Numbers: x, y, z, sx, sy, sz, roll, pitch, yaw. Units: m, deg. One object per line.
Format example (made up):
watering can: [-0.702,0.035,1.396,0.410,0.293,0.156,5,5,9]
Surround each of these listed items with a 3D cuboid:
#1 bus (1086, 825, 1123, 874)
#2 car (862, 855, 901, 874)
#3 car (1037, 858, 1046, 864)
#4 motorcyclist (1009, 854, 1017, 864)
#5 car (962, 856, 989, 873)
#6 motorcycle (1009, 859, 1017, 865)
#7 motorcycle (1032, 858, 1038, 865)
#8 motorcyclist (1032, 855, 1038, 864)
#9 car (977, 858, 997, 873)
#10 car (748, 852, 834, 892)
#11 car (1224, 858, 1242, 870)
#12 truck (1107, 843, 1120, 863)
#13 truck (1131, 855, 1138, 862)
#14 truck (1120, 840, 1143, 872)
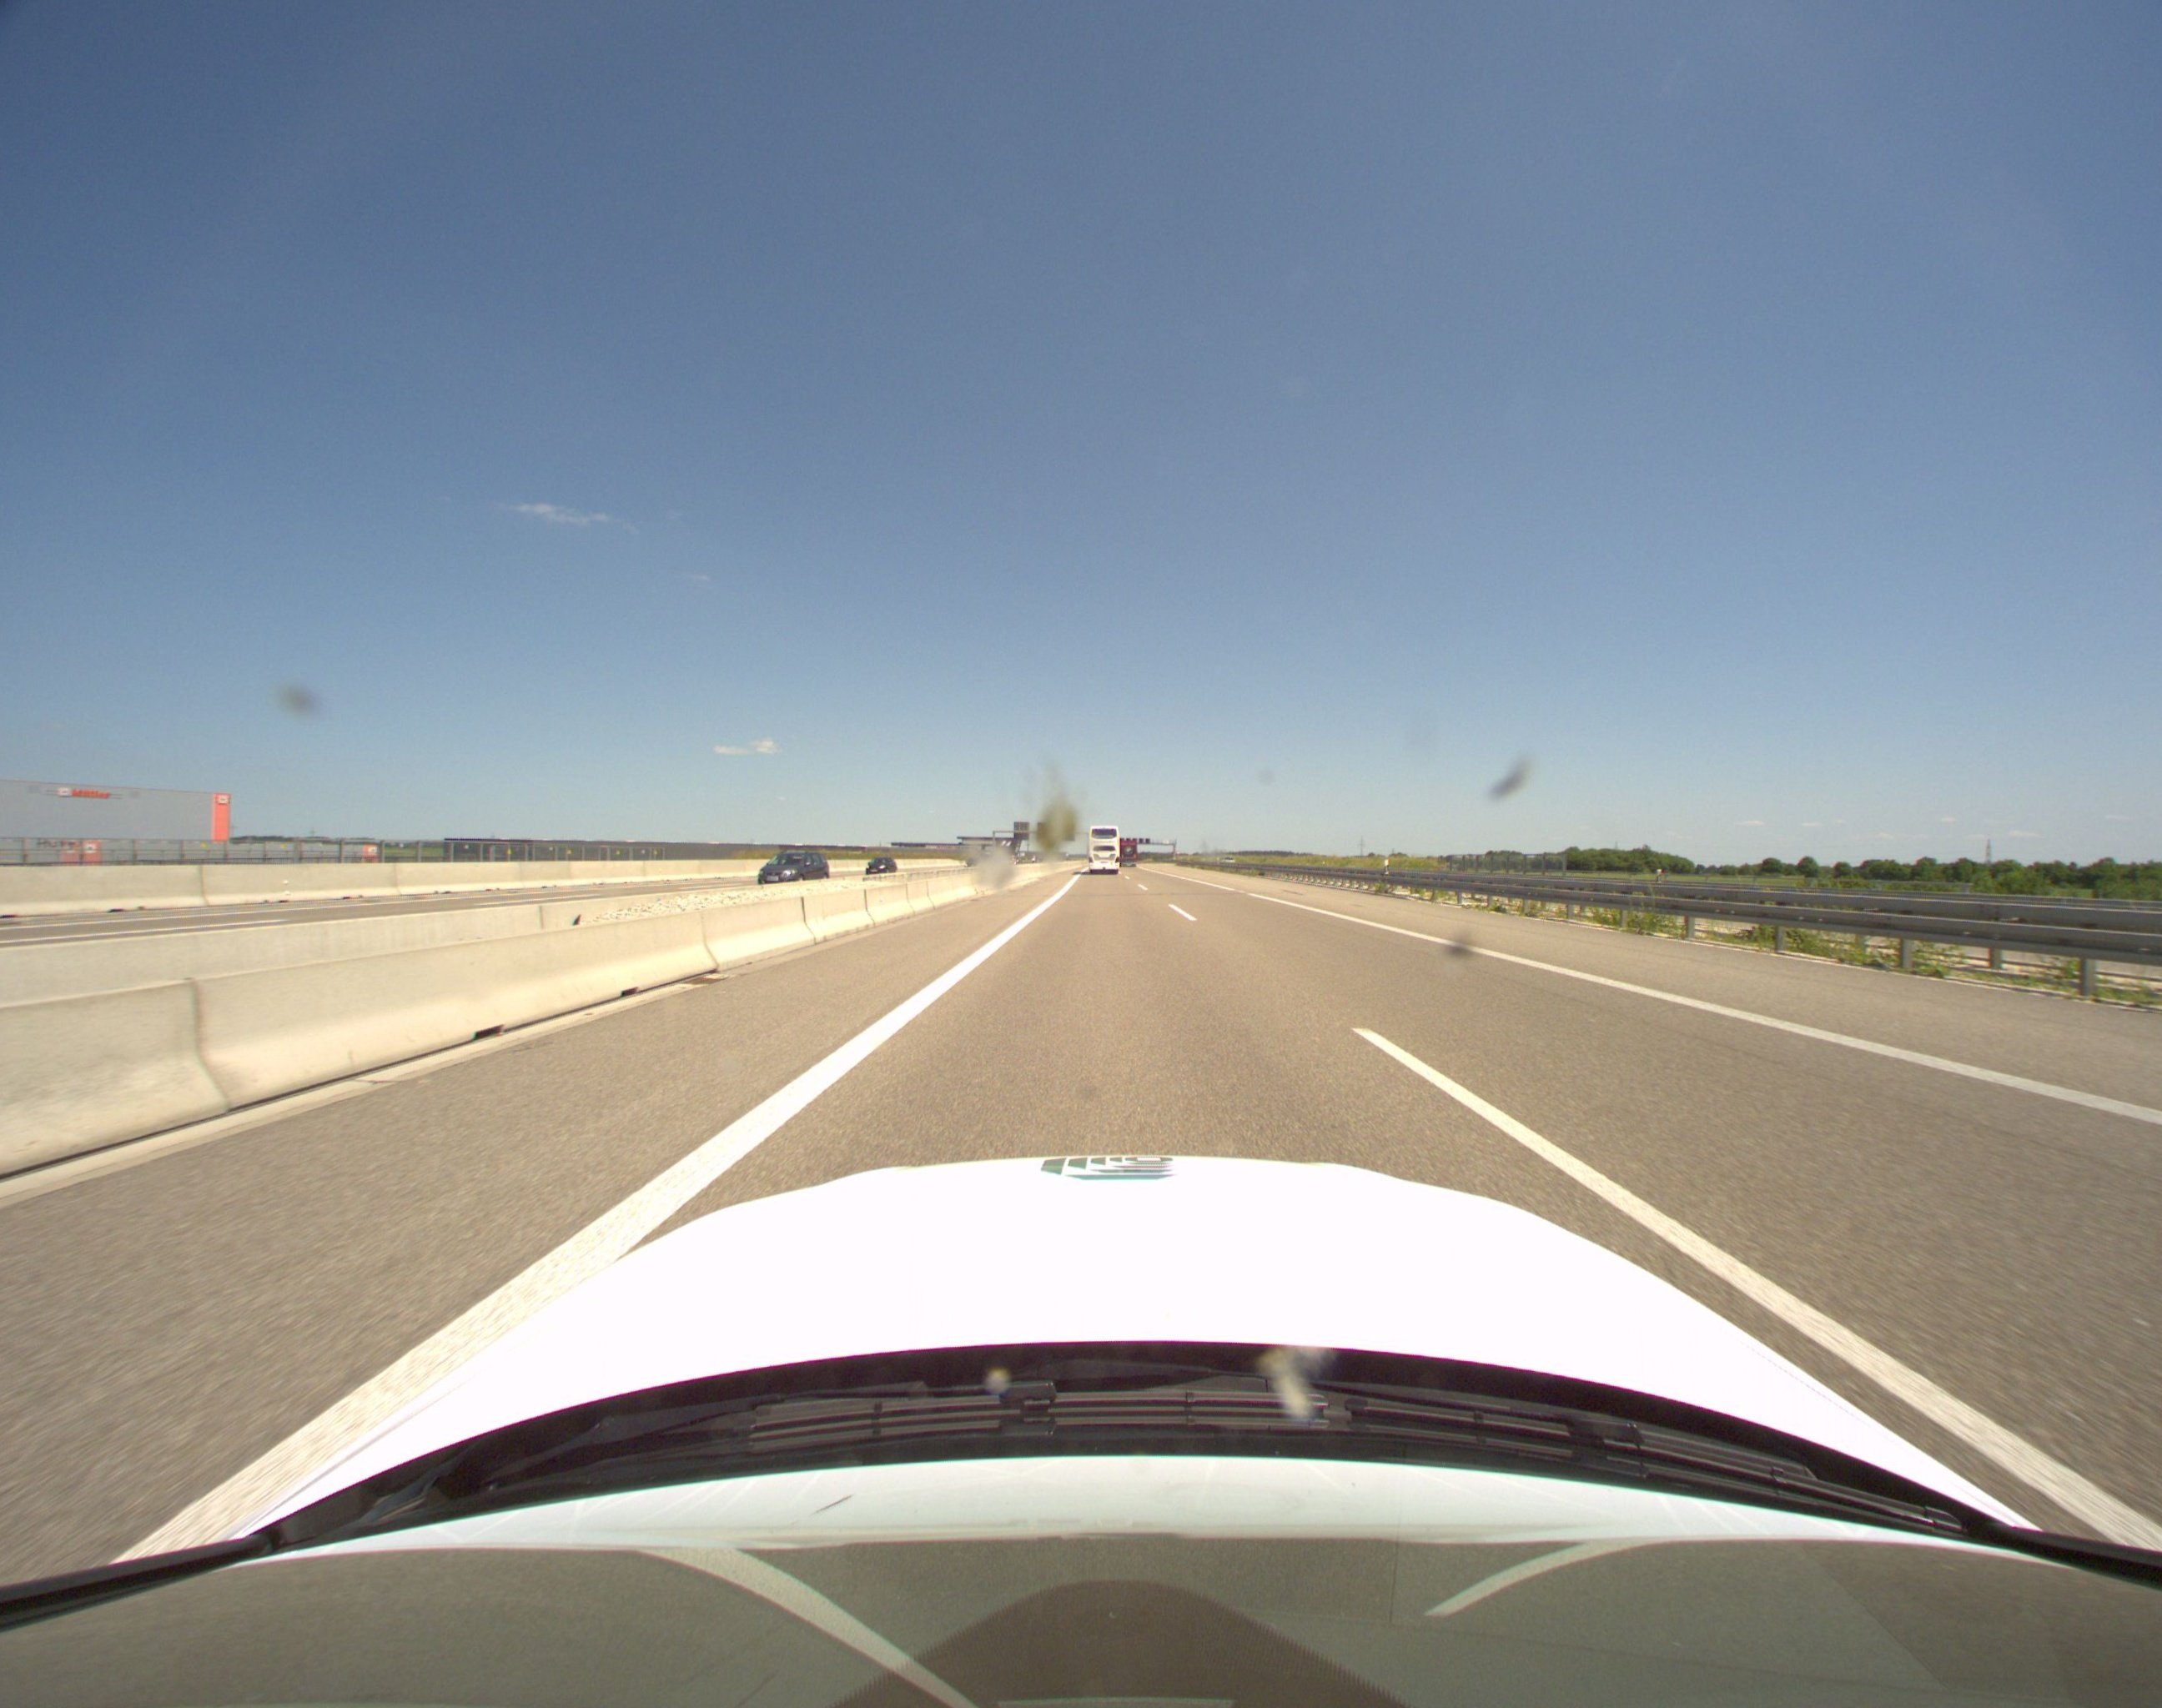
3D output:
bus: [2.012,-0.374,71.567,2.970,3.975,9.106,0,0,1]
car: [-15.520,0.780,63.494,1.903,1.459,4.285,0,0,1]
car: [-10.058,1.758,206.514,1.986,1.379,4.365,0,0,1]
motorcyclist: [-9.644,0.732,115.628,0.914,1.497,0.924,0,0,2]
car: [-10.869,1.023,83.928,1.986,1.669,4.651,0,0,2]
motorcycle: [-9.631,1.156,115.569,0.772,0.902,2.707,0,0,3]
motorcycle: [-8.446,1.372,149.747,0.954,1.169,2.724,0,0,2]
motorcyclist: [-8.443,1.071,149.575,0.916,1.621,1.088,0,0,2]
car: [-13.146,1.594,114.113,1.877,2.017,4.738,0,0,3]
car: [-13.094,0.785,37.079,1.877,1.686,5.019,0,0,3]
car: [20.289,1.365,108.828,1.883,1.529,4.264,0,0,2]
truck: [6.348,-0.217,160.865,2.428,3.789,6.495,0,0,1]
truck: [16.641,1.362,251.179,1.986,2.343,4.952,0,0,2]
truck: [7.899,0.390,126.634,3.364,4.464,13.579,0,-2,4]
